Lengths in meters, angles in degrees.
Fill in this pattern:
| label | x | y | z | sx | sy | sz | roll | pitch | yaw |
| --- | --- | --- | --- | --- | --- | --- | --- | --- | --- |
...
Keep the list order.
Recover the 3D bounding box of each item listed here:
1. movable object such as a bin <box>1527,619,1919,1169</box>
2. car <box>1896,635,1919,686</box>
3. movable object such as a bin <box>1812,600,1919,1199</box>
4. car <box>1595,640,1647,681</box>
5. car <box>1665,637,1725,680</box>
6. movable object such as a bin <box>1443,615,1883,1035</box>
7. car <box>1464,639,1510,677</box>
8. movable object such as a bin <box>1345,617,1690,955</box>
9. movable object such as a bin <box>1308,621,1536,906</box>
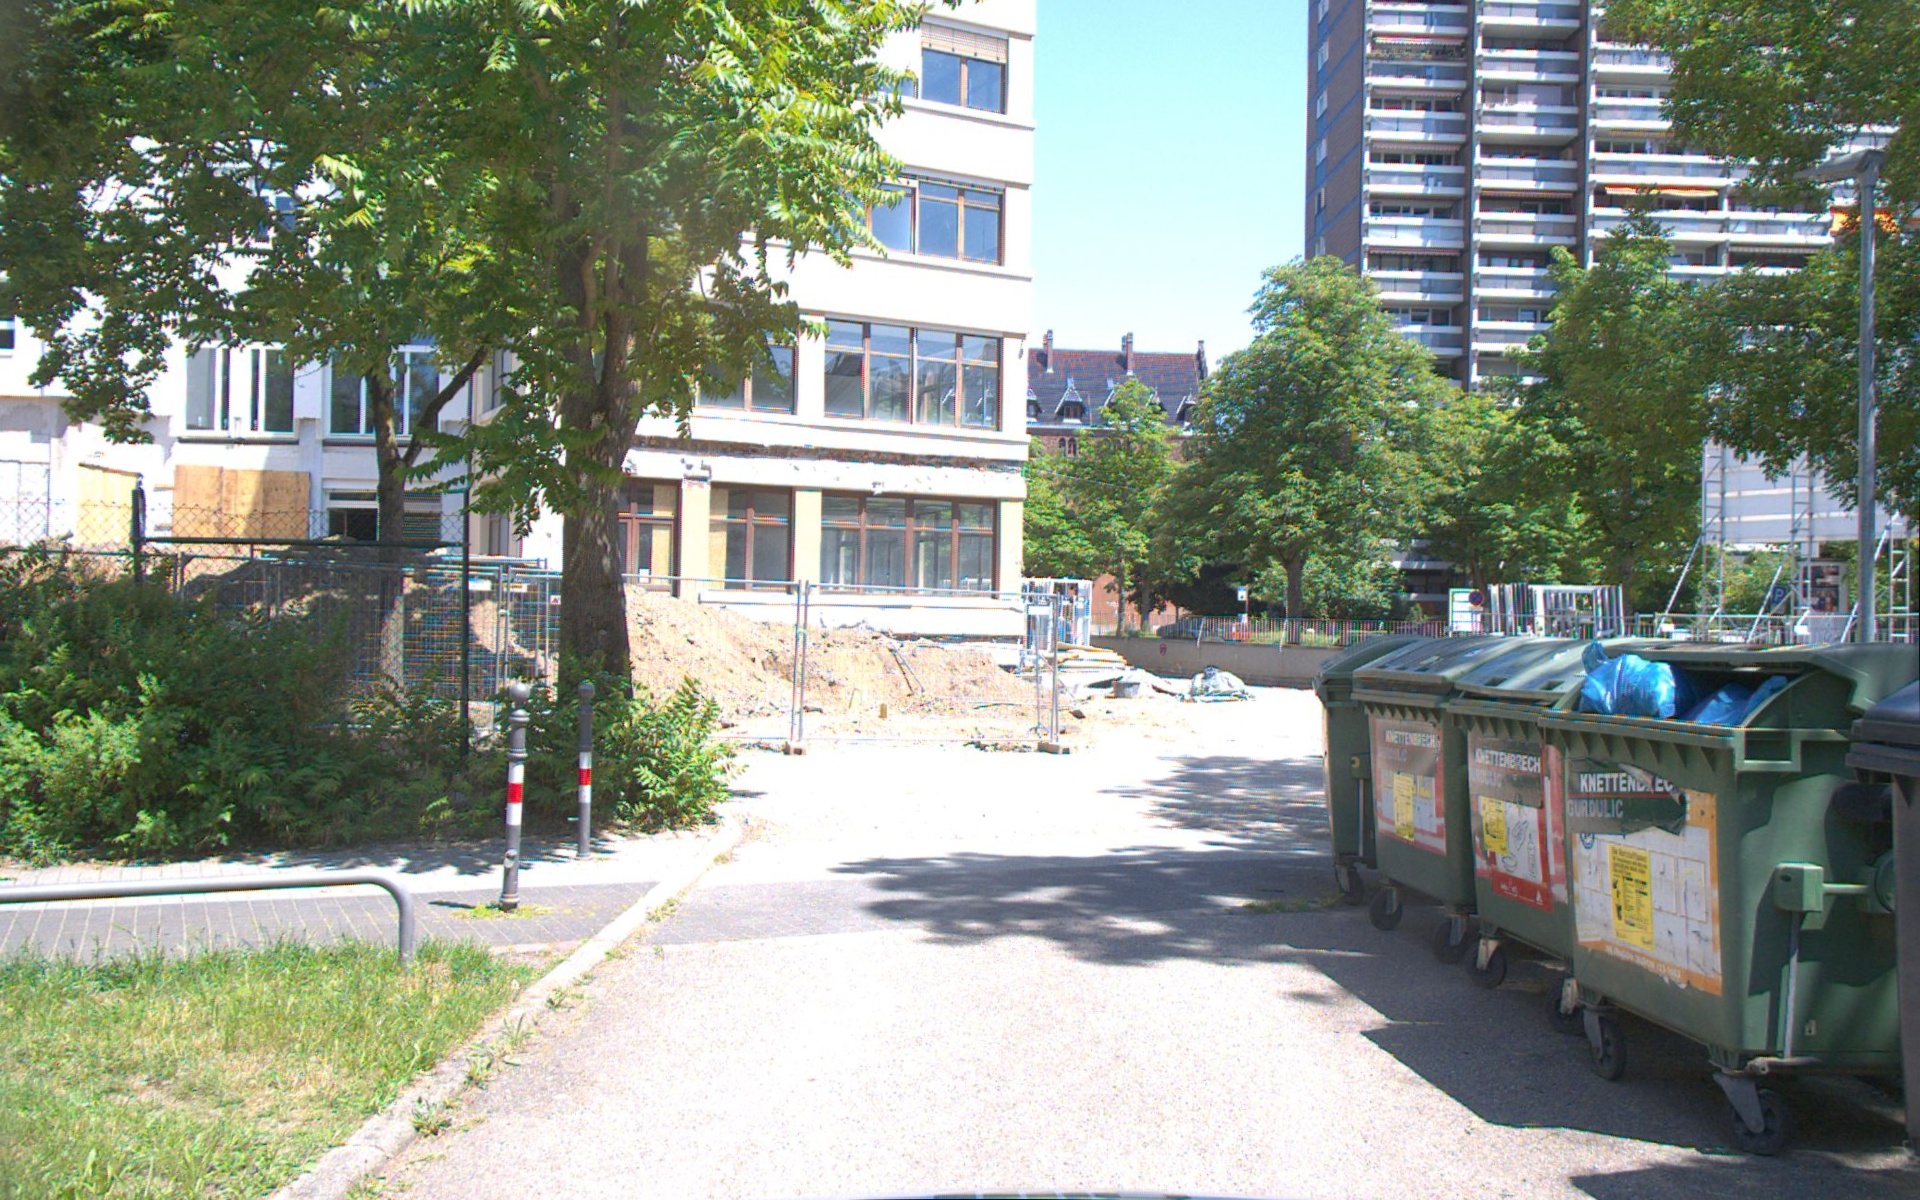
| label | x | y | z | sx | sy | sz | roll | pitch | yaw |
| --- | --- | --- | --- | --- | --- | --- | --- | --- | --- |
| movable object such as a bin | 2.650 | 0.836 | 5.251 | 1.156 | 1.496 | 1.309 | 2 | -2 | -7 |
| car | 29.331 | 1.814 | 49.264 | 1.598 | 1.489 | 3.680 | 1 | -1 | 14 |
| movable object such as a bin | 2.807 | 0.770 | 3.519 | 1.134 | 1.532 | 1.459 | 2 | -2 | -9 |
| car | 24.293 | 2.204 | 60.870 | 1.599 | 1.411 | 3.678 | 0 | -1 | 19 |
| car | 25.646 | 2.039 | 57.776 | 1.599 | 1.411 | 3.678 | 0 | -1 | 19 |
| movable object such as a bin | 2.743 | 0.837 | 6.637 | 1.156 | 1.496 | 1.310 | 1 | -2 | -4 |
| car | 20.926 | 2.294 | 65.612 | 1.599 | 1.411 | 3.678 | 0 | -1 | 19 |
| movable object such as a bin | 2.662 | 0.858 | 8.077 | 1.156 | 1.496 | 1.310 | 2 | -2 | -6 |
| movable object such as a bin | 2.637 | 0.898 | 9.616 | 1.154 | 1.496 | 1.334 | 1 | -2 | 11 |
